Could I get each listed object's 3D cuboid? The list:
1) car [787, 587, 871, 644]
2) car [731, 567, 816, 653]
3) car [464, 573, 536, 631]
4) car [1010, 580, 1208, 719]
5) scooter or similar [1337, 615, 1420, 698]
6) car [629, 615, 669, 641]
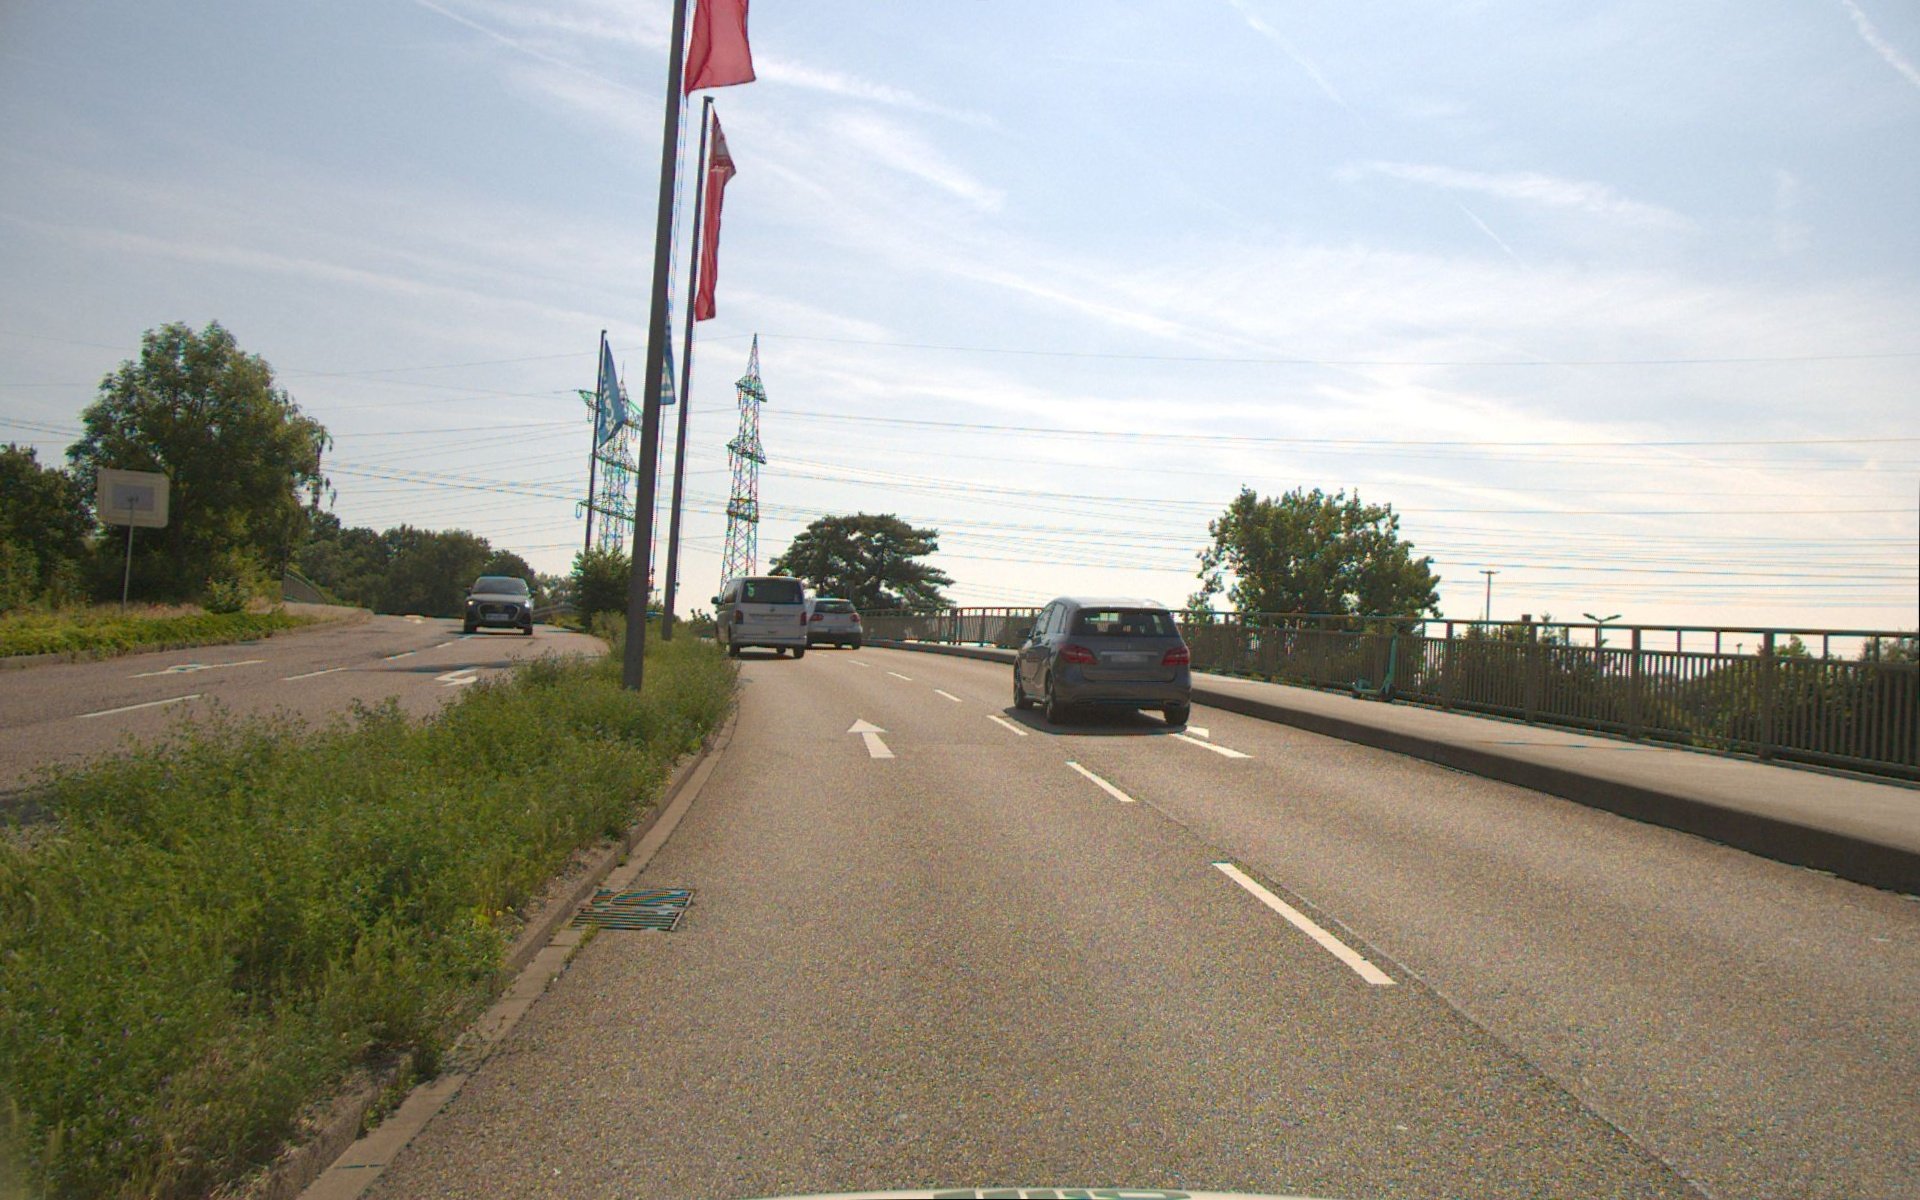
[{"bbox_3d":[-4.053,0.456,50.550,1.825,1.556,4.128,3,0,-14],"label":"car"},{"bbox_3d":[-4.678,0.239,41.522,2.000,2.049,3.994,0,0,-7],"label":"car"},{"bbox_3d":[-12.669,0.016,45.723,1.754,1.511,4.244,1,1,-14],"label":"car"},{"bbox_3d":[1.833,0.639,21.605,1.820,1.556,4.139,3,-2,-5],"label":"car"},{"bbox_3d":[6.262,0.827,24.812,0.503,1.162,1.476,4,-1,-15],"label":"scooter or similar"},{"bbox_3d":[-16.894,1.493,89.833,1.745,1.355,3.723,1,-1,-17],"label":"car"}]
